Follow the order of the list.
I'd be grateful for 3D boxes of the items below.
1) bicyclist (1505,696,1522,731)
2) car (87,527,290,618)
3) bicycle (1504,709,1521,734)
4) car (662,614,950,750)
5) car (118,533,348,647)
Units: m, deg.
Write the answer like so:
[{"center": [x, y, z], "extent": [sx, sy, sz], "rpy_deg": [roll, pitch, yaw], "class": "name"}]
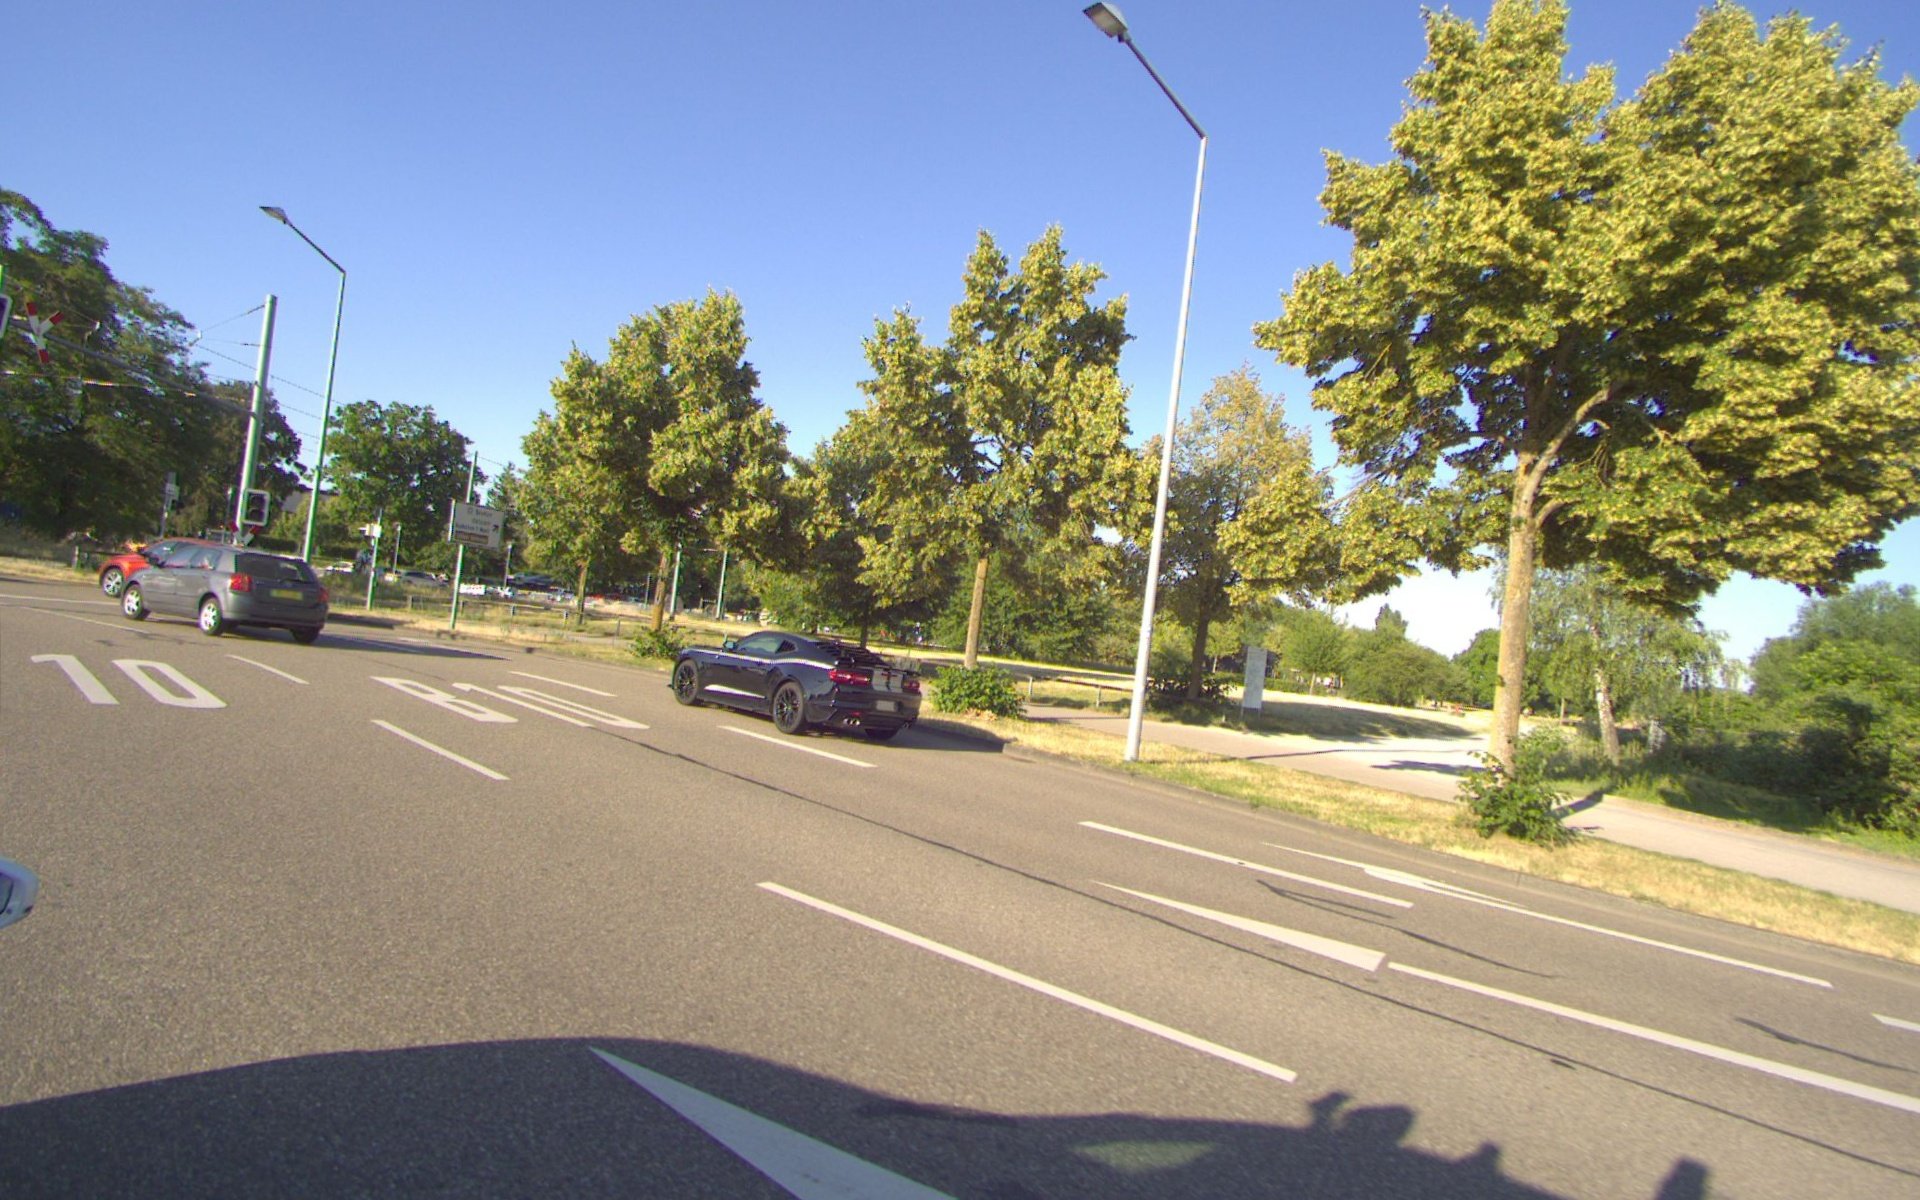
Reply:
[{"center": [25.244, 5.184, 45.881], "extent": [0.502, 1.492, 0.619], "rpy_deg": [5, -3, 33], "class": "bicyclist"}, {"center": [-18.581, -0.639, 24.291], "extent": [3.746, 1.640, 1.755], "rpy_deg": [7, -1, 12], "class": "car"}, {"center": [25.171, 5.536, 45.832], "extent": [0.501, 1.032, 2.041], "rpy_deg": [5, -4, 33], "class": "bicycle"}, {"center": [-2.444, 1.156, 15.044], "extent": [1.850, 1.353, 4.568], "rpy_deg": [10, -3, -44], "class": "car"}, {"center": [-12.714, -0.185, 17.557], "extent": [3.755, 1.490, 1.751], "rpy_deg": [6, -1, 30], "class": "car"}]
